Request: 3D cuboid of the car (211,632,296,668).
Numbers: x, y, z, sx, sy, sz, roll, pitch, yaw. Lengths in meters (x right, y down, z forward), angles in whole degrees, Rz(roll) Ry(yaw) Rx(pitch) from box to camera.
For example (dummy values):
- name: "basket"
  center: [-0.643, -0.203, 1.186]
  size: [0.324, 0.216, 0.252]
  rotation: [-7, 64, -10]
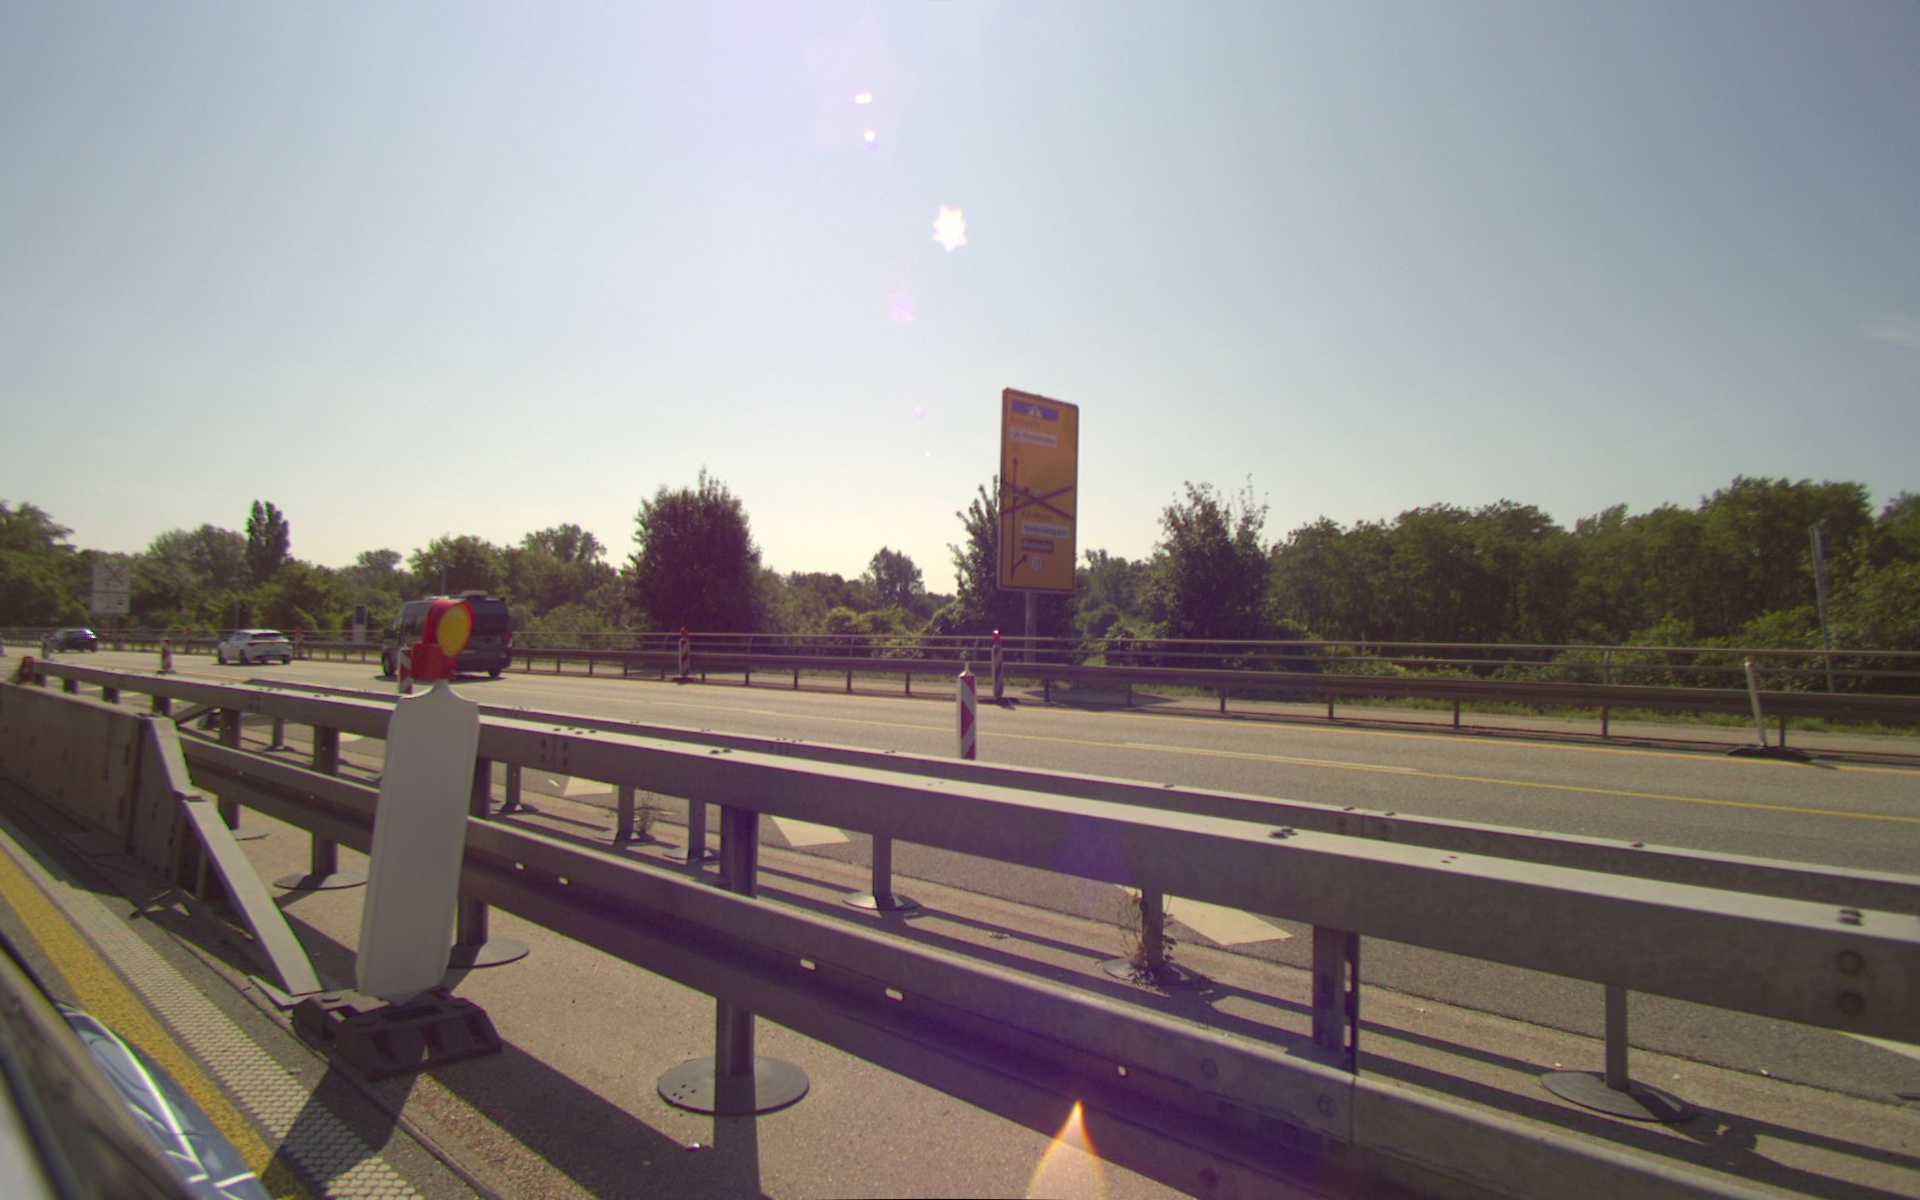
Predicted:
- name: "car"
  center: [-29.822, 2.085, 42.683]
  size: [4.513, 1.408, 1.703]
  rotation: [-1, -2, 38]

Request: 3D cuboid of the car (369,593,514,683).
- name: "car"
  center: [-16.705, 1.199, 32.479]
  size: [5.541, 2.681, 2.124]
  rotation: [-1, -2, 40]

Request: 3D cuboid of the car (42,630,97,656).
- name: "car"
  center: [-54.034, 2.614, 61.375]
  size: [4.640, 1.487, 1.720]
  rotation: [-2, -3, 39]
